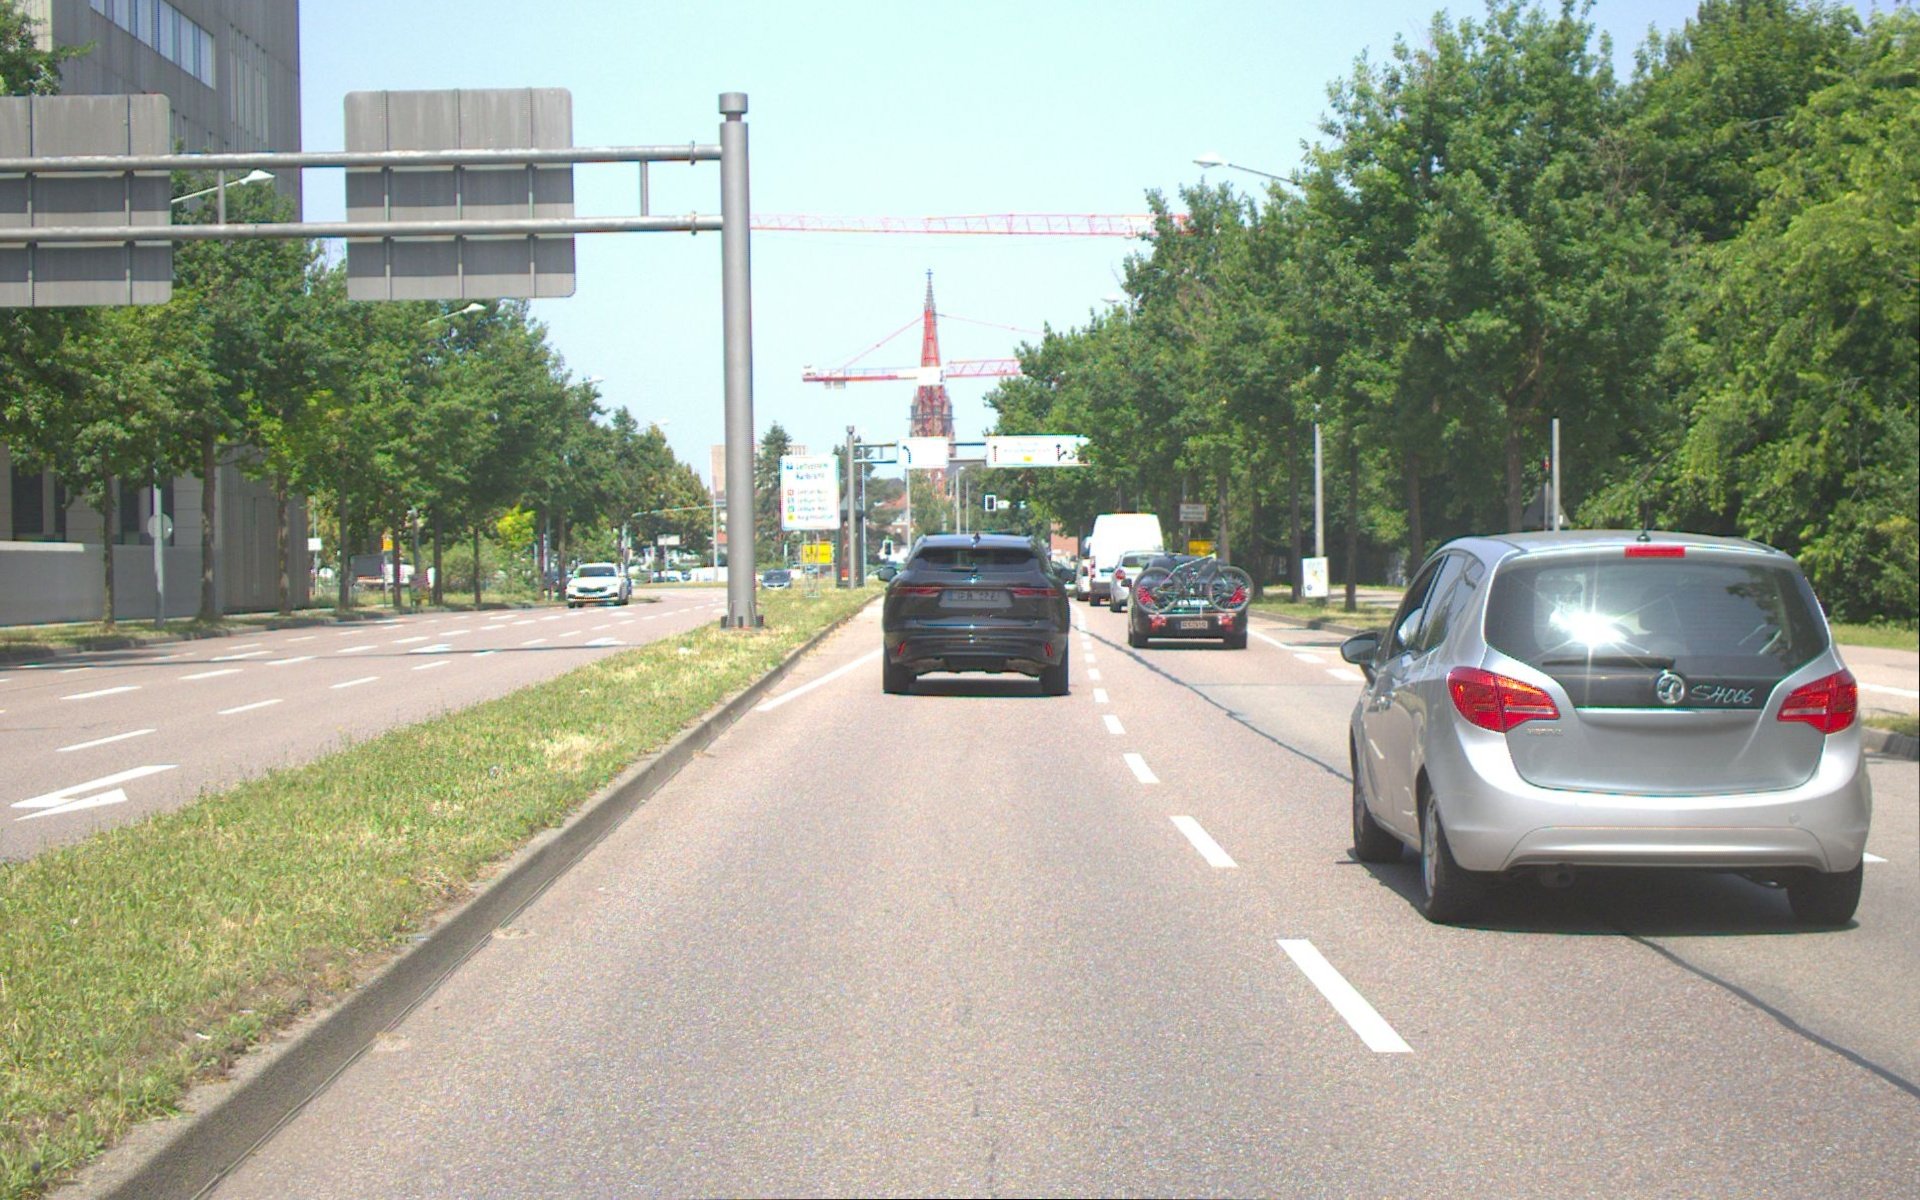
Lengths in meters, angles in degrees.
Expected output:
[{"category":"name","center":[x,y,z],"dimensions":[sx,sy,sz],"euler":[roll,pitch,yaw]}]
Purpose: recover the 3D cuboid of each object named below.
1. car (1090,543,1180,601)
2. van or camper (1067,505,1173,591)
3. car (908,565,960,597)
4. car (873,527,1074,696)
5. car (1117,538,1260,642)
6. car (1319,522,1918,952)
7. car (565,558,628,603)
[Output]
[{"category":"car","center":[4.268,-0.687,84.259],"dimensions":[1.654,1.351,4.461],"euler":[-1,0,-4]},{"category":"van or camper","center":[4.390,-1.429,95.259],"dimensions":[2.493,2.283,4.921],"euler":[-1,0,-2]},{"category":"car","center":[-1.153,-0.847,151.683],"dimensions":[1.993,1.316,4.001],"euler":[0,1,-4]},{"category":"car","center":[0.170,0.086,36.434],"dimensions":[1.998,1.684,4.033],"euler":[0,1,1]},{"category":"car","center":[3.494,-0.164,53.212],"dimensions":[2.014,1.512,4.460],"euler":[-1,0,2]},{"category":"car","center":[2.705,0.485,14.991],"dimensions":[1.792,1.606,3.891],"euler":[-1,1,-1]},{"category":"car","center":[-12.316,-0.680,116.745],"dimensions":[1.810,1.422,4.359],"euler":[-2,1,-2]}]
